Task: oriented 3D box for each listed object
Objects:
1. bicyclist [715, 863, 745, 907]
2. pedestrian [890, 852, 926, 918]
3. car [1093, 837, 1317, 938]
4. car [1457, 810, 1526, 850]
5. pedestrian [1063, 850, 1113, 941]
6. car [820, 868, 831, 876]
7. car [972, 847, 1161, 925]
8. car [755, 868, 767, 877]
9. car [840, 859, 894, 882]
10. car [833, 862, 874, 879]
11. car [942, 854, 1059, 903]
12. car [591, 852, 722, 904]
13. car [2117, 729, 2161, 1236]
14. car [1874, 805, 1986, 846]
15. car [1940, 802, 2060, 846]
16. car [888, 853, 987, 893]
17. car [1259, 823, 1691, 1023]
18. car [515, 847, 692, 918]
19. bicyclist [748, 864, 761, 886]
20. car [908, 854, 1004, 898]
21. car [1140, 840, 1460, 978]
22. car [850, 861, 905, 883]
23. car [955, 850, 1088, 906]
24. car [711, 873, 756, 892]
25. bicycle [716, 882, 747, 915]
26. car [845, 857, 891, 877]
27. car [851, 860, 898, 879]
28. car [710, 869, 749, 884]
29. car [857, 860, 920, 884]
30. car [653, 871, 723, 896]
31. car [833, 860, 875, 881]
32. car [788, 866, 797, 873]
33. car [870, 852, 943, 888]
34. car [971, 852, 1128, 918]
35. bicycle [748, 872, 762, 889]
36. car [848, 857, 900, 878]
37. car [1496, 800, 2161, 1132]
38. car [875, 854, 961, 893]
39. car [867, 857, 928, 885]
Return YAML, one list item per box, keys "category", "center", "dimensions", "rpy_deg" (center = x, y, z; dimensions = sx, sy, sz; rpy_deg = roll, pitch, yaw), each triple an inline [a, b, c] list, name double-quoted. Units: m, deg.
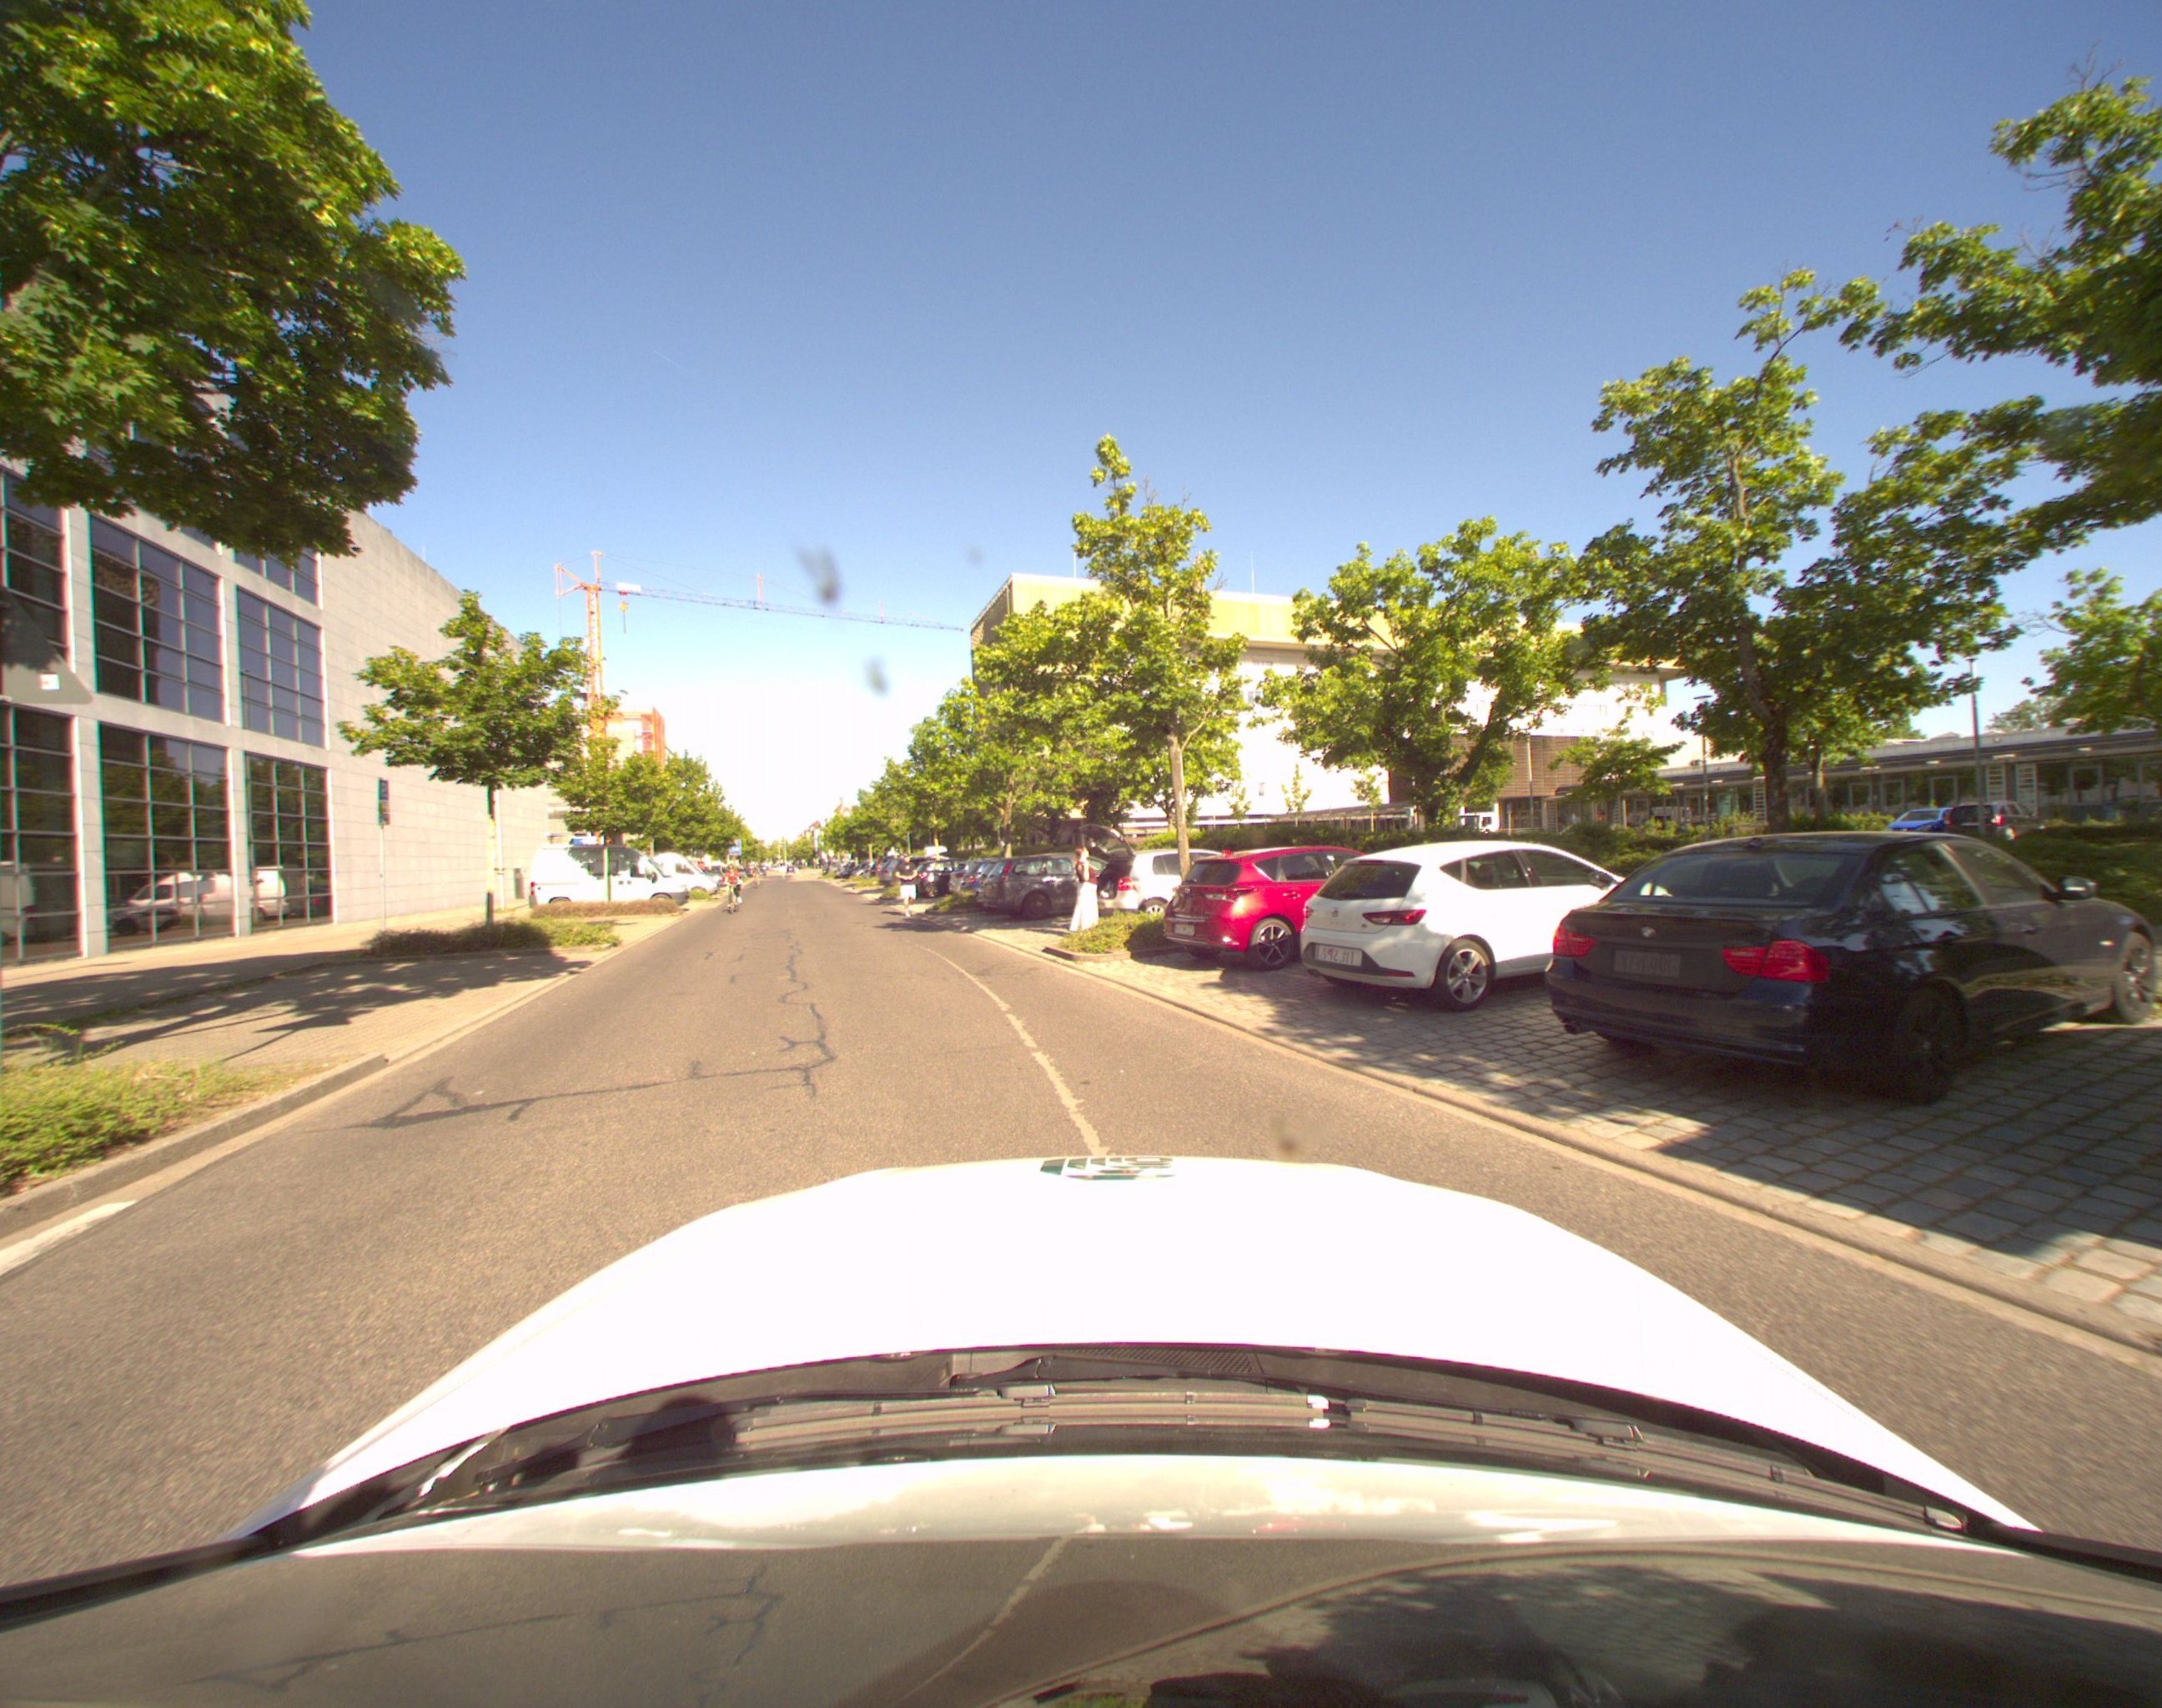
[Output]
- category: "bicyclist"
  center: [-12.104, 1.057, 28.147]
  dimensions: [0.759, 1.431, 1.125]
  rpy_deg: [-4, 1, -19]
- category: "pedestrian"
  center: [-4.957, 0.874, 23.277]
  dimensions: [0.722, 1.771, 1.160]
  rpy_deg: [-4, 0, -21]
- category: "car"
  center: [2.372, 0.561, 15.594]
  dimensions: [3.915, 1.577, 1.667]
  rpy_deg: [-3, 2, -22]
- category: "car"
  center: [28.167, -1.623, 55.931]
  dimensions: [3.645, 2.490, 2.219]
  rpy_deg: [-3, 0, -19]
- category: "pedestrian"
  center: [0.129, 0.730, 14.722]
  dimensions: [0.760, 1.579, 0.675]
  rpy_deg: [-2, 1, 8]
- category: "car"
  center: [-57.464, 4.031, 183.346]
  dimensions: [1.998, 1.474, 4.080]
  rpy_deg: [-3, 1, -22]
- category: "car"
  center: [-0.358, 0.724, 19.860]
  dimensions: [4.203, 1.519, 1.724]
  rpy_deg: [-4, 1, -22]
- category: "car"
  center: [-59.152, 3.480, 150.548]
  dimensions: [1.819, 1.474, 4.081]
  rpy_deg: [-3, 1, -21]
- category: "car"
  center: [-18.086, 1.375, 68.737]
  dimensions: [4.161, 1.580, 1.728]
  rpy_deg: [-4, 1, -22]
- category: "car"
  center: [-22.838, 1.694, 81.896]
  dimensions: [3.780, 1.459, 1.805]
  rpy_deg: [-3, 0, -21]
- category: "car"
  center: [-2.872, 0.823, 28.803]
  dimensions: [3.744, 1.416, 1.830]
  rpy_deg: [-3, 1, -19]
- category: "car"
  center: [-21.225, 1.165, 41.027]
  dimensions: [5.567, 2.410, 1.975]
  rpy_deg: [-1, 0, -19]
- category: "car"
  center: [6.135, 0.314, 2.864]
  dimensions: [4.170, 1.846, 1.867]
  rpy_deg: [-4, 1, -21]
- category: "car"
  center: [36.474, -1.230, 34.992]
  dimensions: [3.906, 1.497, 1.831]
  rpy_deg: [-3, 1, -19]
- category: "car"
  center: [37.280, -1.214, 33.038]
  dimensions: [3.906, 1.497, 1.831]
  rpy_deg: [-3, 1, -19]
- category: "car"
  center: [-6.933, 0.882, 39.354]
  dimensions: [4.341, 1.607, 1.897]
  rpy_deg: [-4, 0, -24]
- category: "car"
  center: [4.017, 0.546, 8.341]
  dimensions: [3.916, 1.436, 1.795]
  rpy_deg: [-4, 1, -22]
- category: "car"
  center: [-17.399, 0.987, 30.026]
  dimensions: [5.265, 2.418, 2.109]
  rpy_deg: [-1, -1, -20]
- category: "bicyclist"
  center: [-24.058, 1.564, 60.067]
  dimensions: [0.685, 1.580, 1.055]
  rpy_deg: [-4, 0, -16]
- category: "car"
  center: [-5.094, 0.883, 33.007]
  dimensions: [3.467, 1.489, 1.734]
  rpy_deg: [-4, 0, -22]
- category: "car"
  center: [2.950, 0.643, 10.985]
  dimensions: [3.915, 1.426, 1.660]
  rpy_deg: [-3, 0, -22]
- category: "car"
  center: [-16.008, 1.416, 64.010]
  dimensions: [3.916, 1.486, 1.730]
  rpy_deg: [-3, 0, -21]
- category: "car"
  center: [-1.947, 0.740, 26.431]
  dimensions: [3.907, 1.497, 1.830]
  rpy_deg: [-3, 1, -19]
- category: "car"
  center: [-36.991, 3.006, 86.859]
  dimensions: [4.278, 1.665, 1.588]
  rpy_deg: [-3, 1, -21]
- category: "bicycle"
  center: [-12.060, 1.509, 28.114]
  dimensions: [0.759, 1.002, 1.860]
  rpy_deg: [-4, 1, -18]
- category: "car"
  center: [-20.357, 1.235, 77.797]
  dimensions: [4.001, 1.582, 2.018]
  rpy_deg: [-3, 0, -20]
- category: "car"
  center: [-19.154, 1.434, 75.434]
  dimensions: [4.001, 1.538, 1.849]
  rpy_deg: [-3, -1, -20]
- category: "car"
  center: [-43.427, 2.756, 100.752]
  dimensions: [4.351, 1.474, 1.803]
  rpy_deg: [-3, 1, -24]
- category: "car"
  center: [-13.612, 1.259, 57.530]
  dimensions: [4.075, 1.425, 1.730]
  rpy_deg: [-4, 0, -19]
- category: "car"
  center: [-26.247, 1.963, 54.543]
  dimensions: [4.148, 1.492, 1.855]
  rpy_deg: [-1, 1, -24]
- category: "car"
  center: [-23.709, 1.717, 85.121]
  dimensions: [4.001, 1.879, 1.671]
  rpy_deg: [-3, 0, -20]
- category: "car"
  center: [-62.860, 3.366, 177.407]
  dimensions: [1.818, 1.474, 4.084]
  rpy_deg: [-3, 1, -19]
- category: "car"
  center: [-10.909, 0.976, 50.820]
  dimensions: [4.136, 1.927, 1.964]
  rpy_deg: [-3, 1, -22]
- category: "car"
  center: [-0.854, 0.778, 22.204]
  dimensions: [3.915, 1.468, 1.609]
  rpy_deg: [-3, 2, -22]
- category: "bicycle"
  center: [-24.013, 1.953, 60.019]
  dimensions: [0.699, 1.110, 2.068]
  rpy_deg: [-4, 0, -15]
- category: "car"
  center: [-16.970, 1.062, 66.700]
  dimensions: [3.879, 1.504, 1.640]
  rpy_deg: [-3, 0, -23]
- category: "car"
  center: [5.152, 0.498, 5.553]
  dimensions: [4.172, 1.406, 1.815]
  rpy_deg: [-4, 1, -22]
- category: "car"
  center: [-8.302, 0.969, 41.478]
  dimensions: [3.915, 1.695, 1.926]
  rpy_deg: [-3, 2, -22]
- category: "car"
  center: [-11.995, 1.089, 53.194]
  dimensions: [3.621, 1.549, 1.694]
  rpy_deg: [-3, 2, -22]
